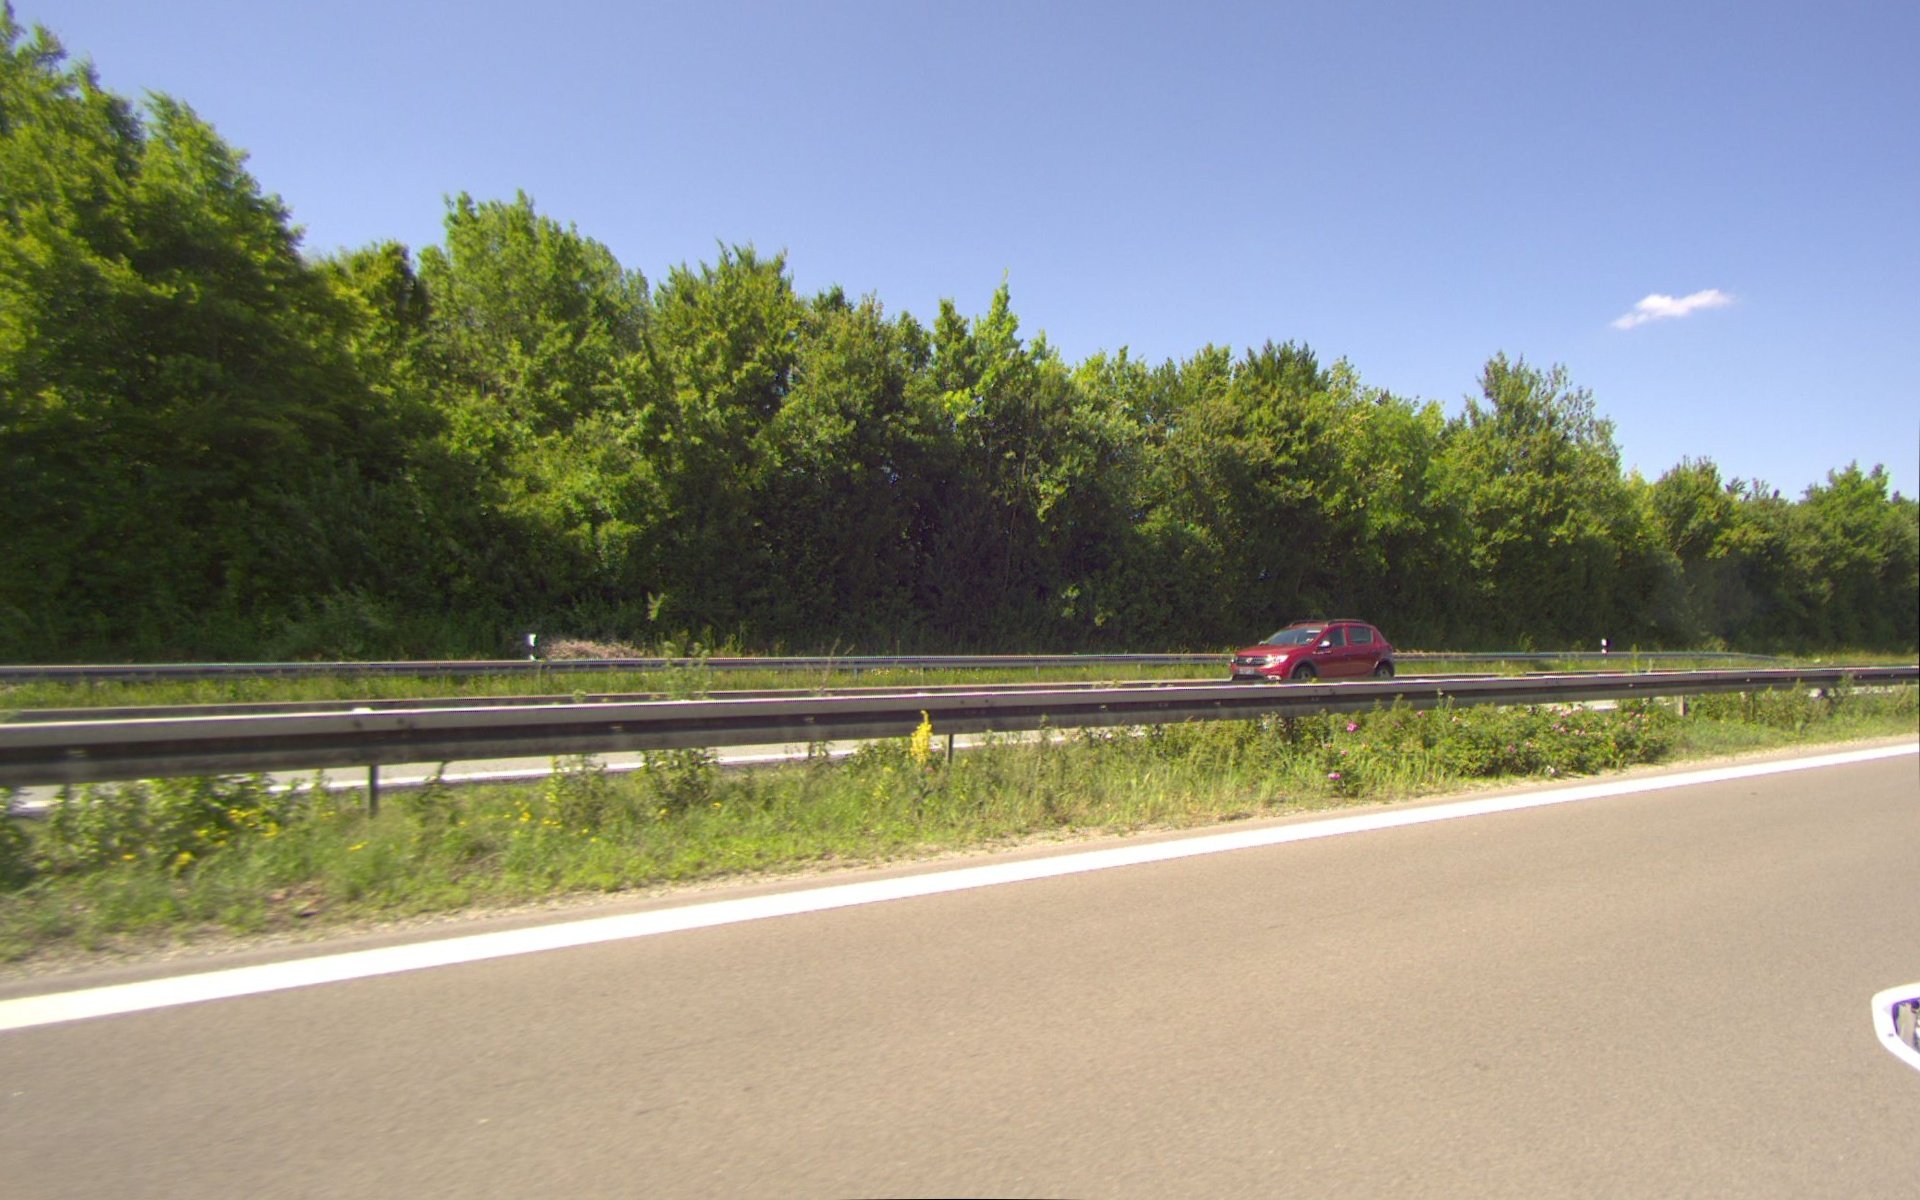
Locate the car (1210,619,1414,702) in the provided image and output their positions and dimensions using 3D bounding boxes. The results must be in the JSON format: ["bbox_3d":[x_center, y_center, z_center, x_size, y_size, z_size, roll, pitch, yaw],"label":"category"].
[{"bbox_3d":[7.742,1.304,22.036,4.268,1.651,1.855,2,-1,-29],"label":"car"}]
